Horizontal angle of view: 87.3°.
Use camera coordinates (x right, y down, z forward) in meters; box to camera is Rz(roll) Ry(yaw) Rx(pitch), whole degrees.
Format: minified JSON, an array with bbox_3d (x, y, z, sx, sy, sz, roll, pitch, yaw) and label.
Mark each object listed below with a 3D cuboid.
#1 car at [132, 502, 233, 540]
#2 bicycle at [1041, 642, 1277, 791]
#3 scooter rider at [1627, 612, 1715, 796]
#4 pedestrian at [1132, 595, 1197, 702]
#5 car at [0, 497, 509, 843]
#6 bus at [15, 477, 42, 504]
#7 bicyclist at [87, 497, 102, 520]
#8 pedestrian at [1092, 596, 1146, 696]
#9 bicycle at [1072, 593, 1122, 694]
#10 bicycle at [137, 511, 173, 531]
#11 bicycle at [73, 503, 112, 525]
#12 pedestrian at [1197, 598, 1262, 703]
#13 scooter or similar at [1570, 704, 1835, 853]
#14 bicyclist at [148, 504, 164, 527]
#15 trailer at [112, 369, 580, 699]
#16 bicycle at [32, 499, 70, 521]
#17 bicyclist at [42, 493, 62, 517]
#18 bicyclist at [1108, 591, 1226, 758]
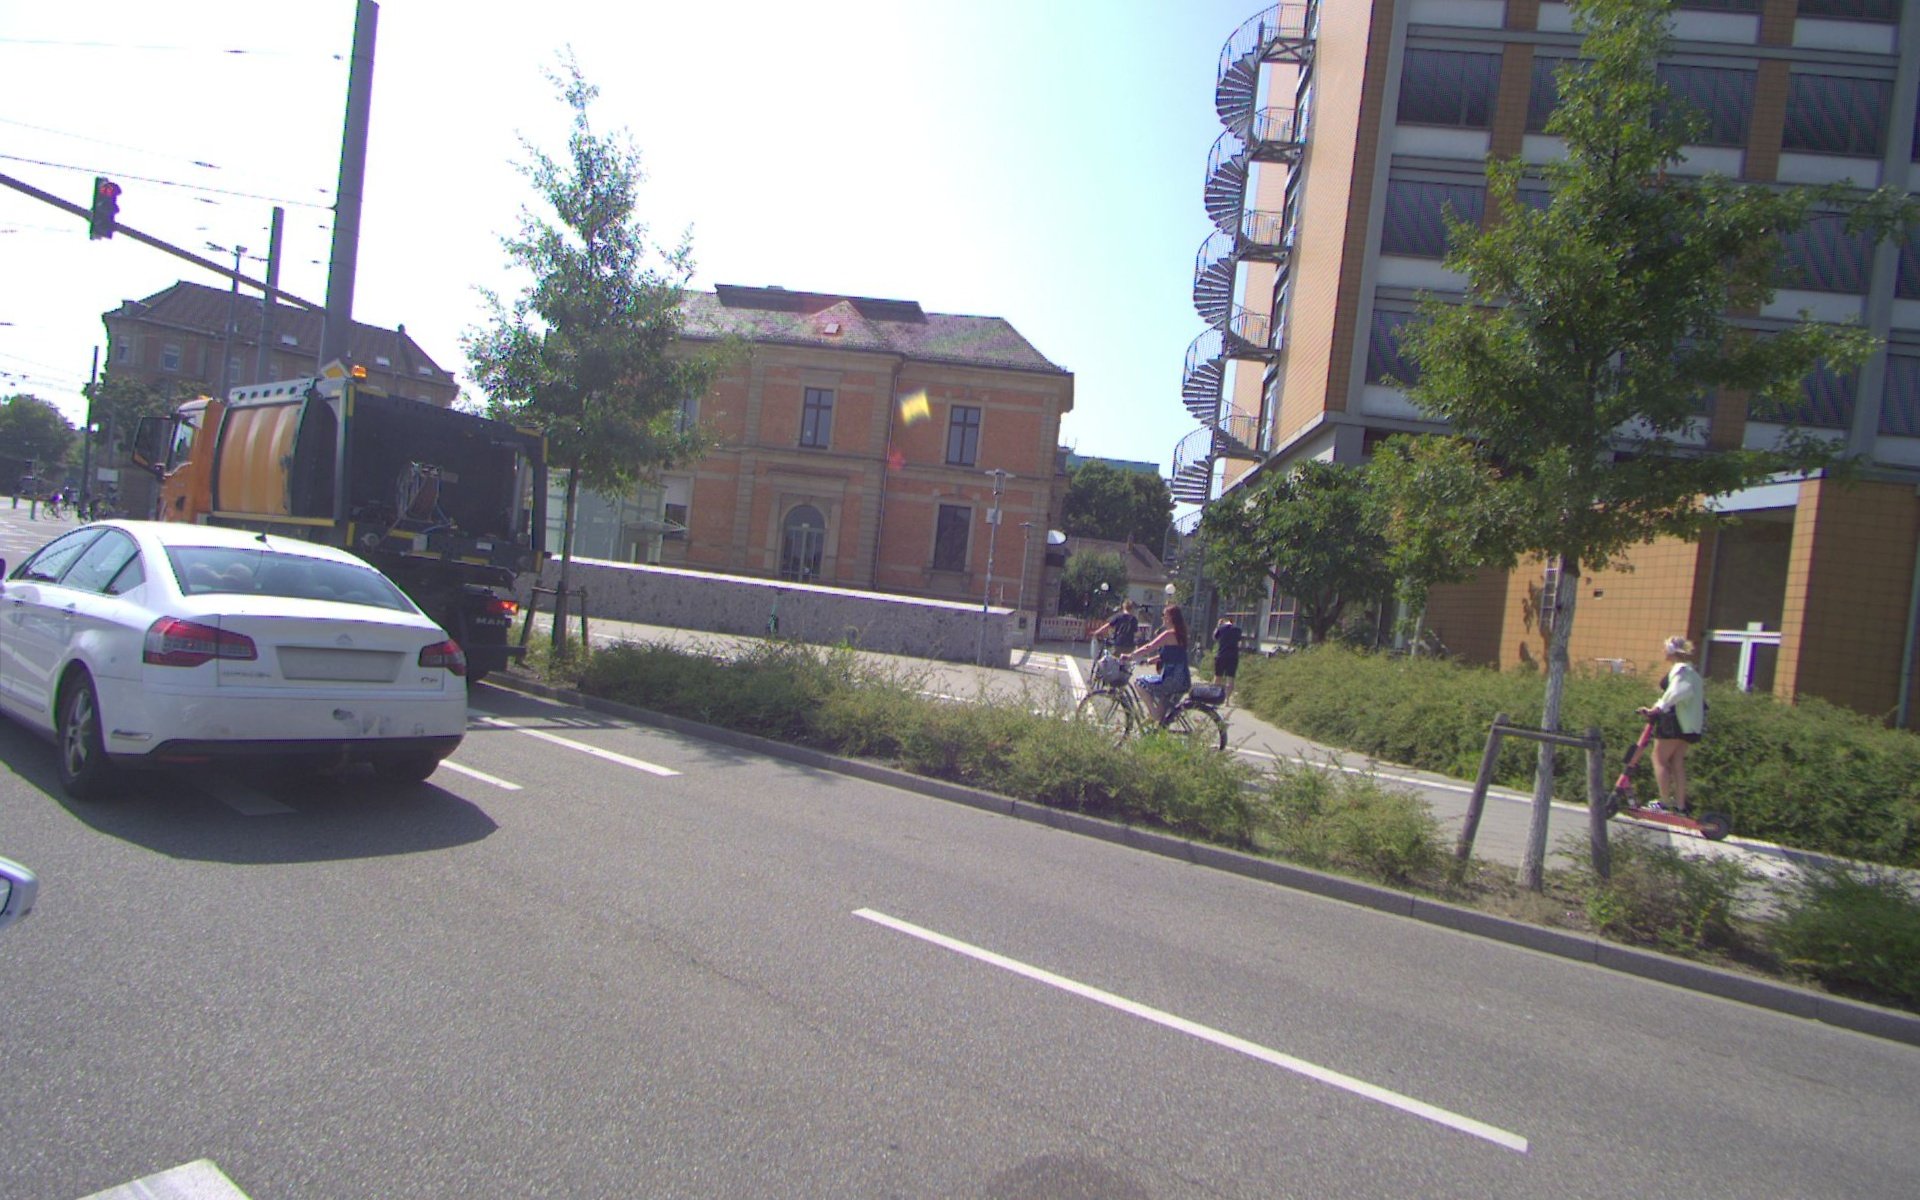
[{"bbox_3d":[-41.747,-4.208,54.096,1.702,1.437,3.904,7,0,25],"label":"car"},{"bbox_3d":[2.059,1.171,10.717,2.338,1.170,0.692,7,3,41],"label":"bicycle"},{"bbox_3d":[7.094,1.021,10.035,0.531,1.721,0.670,6,1,39],"label":"scooter rider"},{"bbox_3d":[4.028,0.961,19.826,0.774,1.998,0.745,5,2,-40],"label":"pedestrian"},{"bbox_3d":[-5.006,0.238,6.552,4.357,1.473,1.758,7,0,36],"label":"car"},{"bbox_3d":[-137.987,-16.239,149.045,2.552,3.550,7.707,6,1,-42],"label":"bus"},{"bbox_3d":[-48.331,-5.101,56.172,0.500,1.203,0.502,6,1,-38],"label":"bicyclist"},{"bbox_3d":[3.145,0.902,19.993,0.650,1.884,0.792,6,1,-7],"label":"pedestrian"},{"bbox_3d":[2.675,0.820,19.712,0.449,1.884,1.361,6,1,-6],"label":"bicycle"},{"bbox_3d":[-48.056,-4.700,60.078,1.581,0.997,0.502,7,1,-35],"label":"bicycle"},{"bbox_3d":[-48.410,-4.787,56.141,1.583,0.997,0.502,7,1,-39],"label":"bicycle"},{"bbox_3d":[5.398,1.013,20.148,0.774,1.998,0.745,5,2,-40],"label":"pedestrian"},{"bbox_3d":[7.252,1.700,9.925,1.975,1.073,0.555,6,1,39],"label":"scooter or similar"},{"bbox_3d":[-48.022,-5.028,60.075,0.590,1.263,0.502,6,1,-35],"label":"bicyclist"},{"bbox_3d":[-7.664,-0.807,12.222,6.228,3.043,2.463,7,-1,37],"label":"trailer"},{"bbox_3d":[-51.363,-5.076,56.844,0.497,0.997,1.596,6,0,6],"label":"bicycle"},{"bbox_3d":[-51.332,-5.370,56.857,0.497,1.263,0.596,6,1,5],"label":"bicyclist"},{"bbox_3d":[2.182,0.764,10.621,0.832,1.621,0.688,8,4,42],"label":"bicyclist"}]
